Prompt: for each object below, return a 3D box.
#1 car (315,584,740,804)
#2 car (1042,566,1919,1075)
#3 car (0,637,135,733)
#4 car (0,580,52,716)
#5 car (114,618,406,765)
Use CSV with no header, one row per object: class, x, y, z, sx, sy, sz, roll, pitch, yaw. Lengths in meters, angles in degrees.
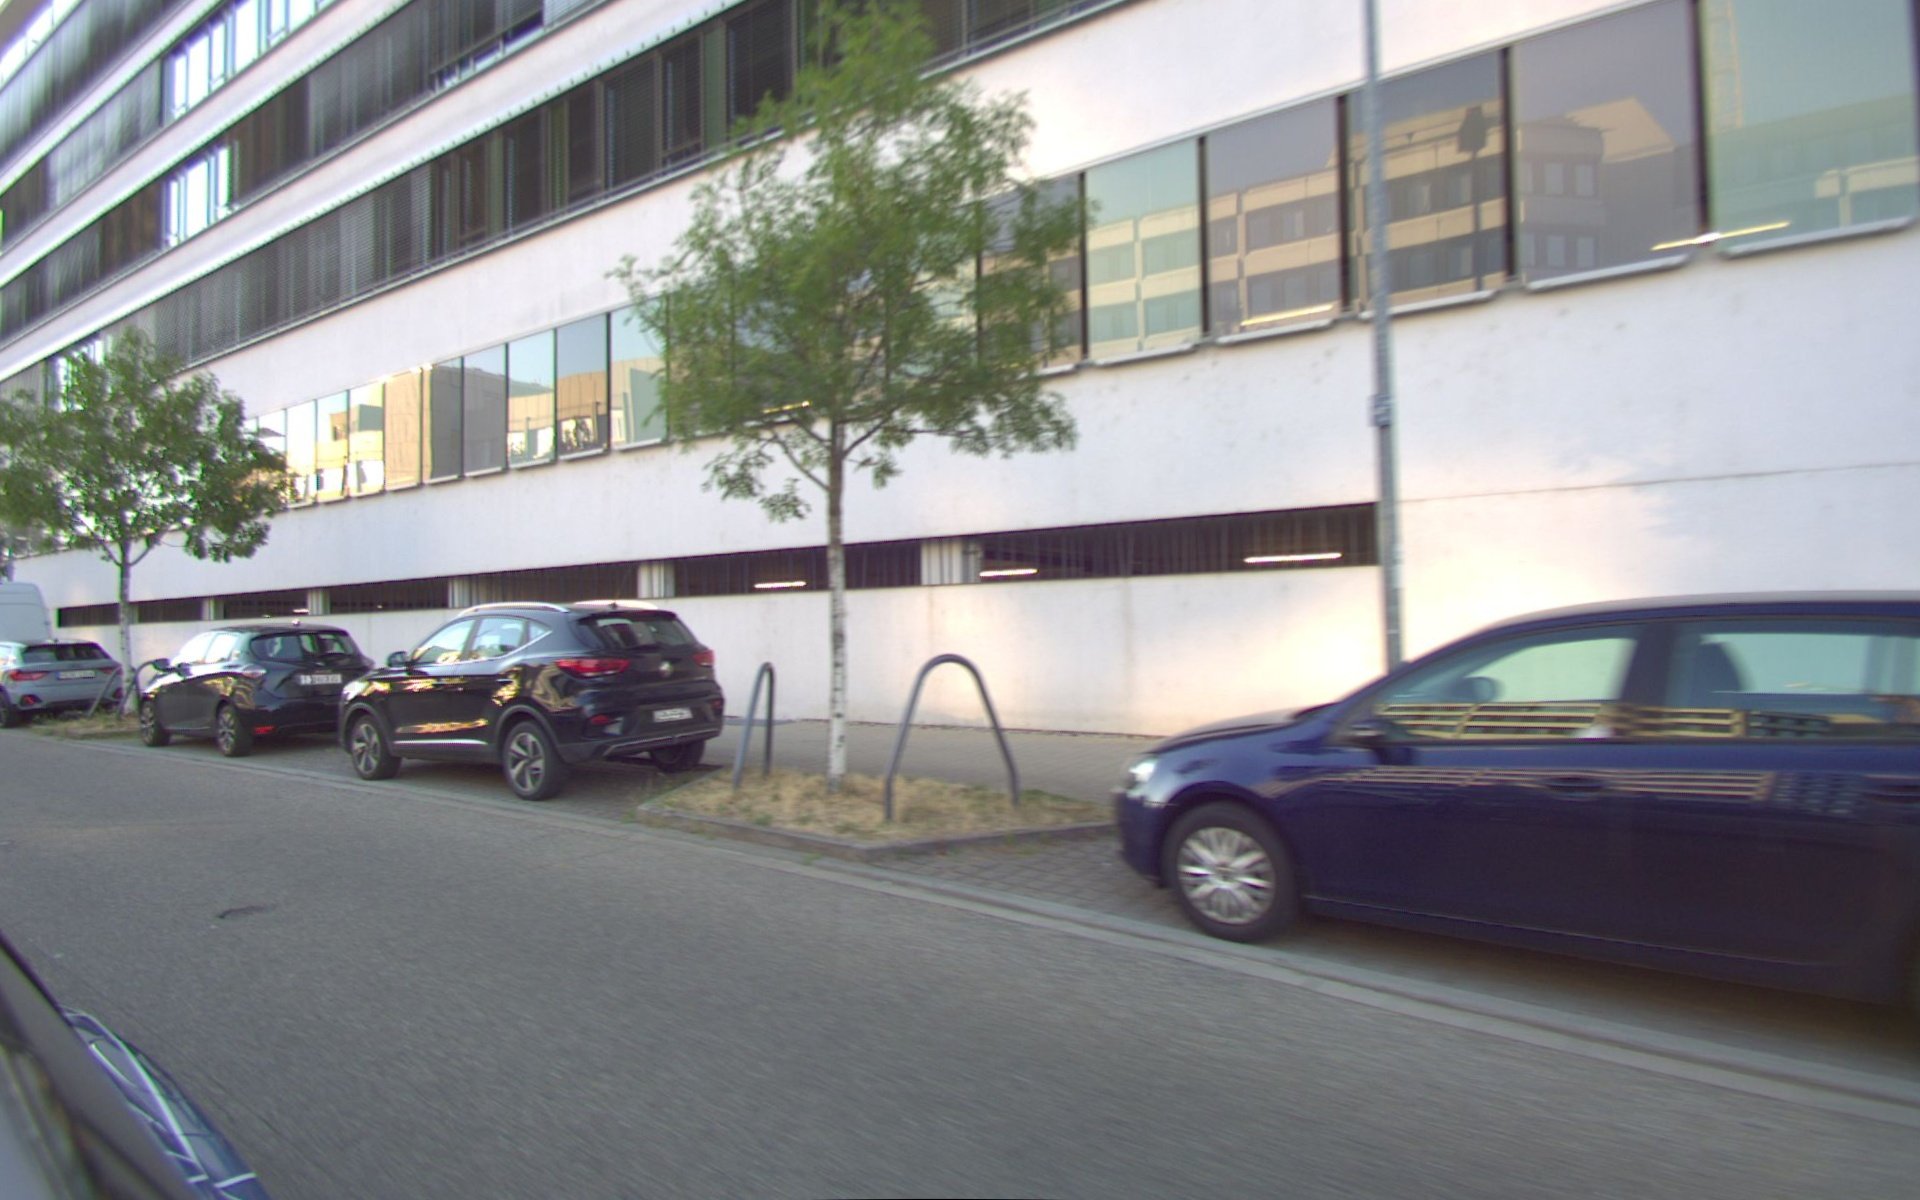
car,-4.133,0.797,9.496,3.937,1.666,1.742,-3,-1,33
car,2.598,0.662,4.181,4.268,1.468,1.705,-3,-1,40
car,-16.590,1.481,17.926,3.884,1.450,1.744,-3,-1,29
car,-21.603,1.105,21.408,6.874,2.637,1.942,-3,-1,34
car,-9.099,1.120,13.073,4.032,1.572,1.741,-3,-1,34
